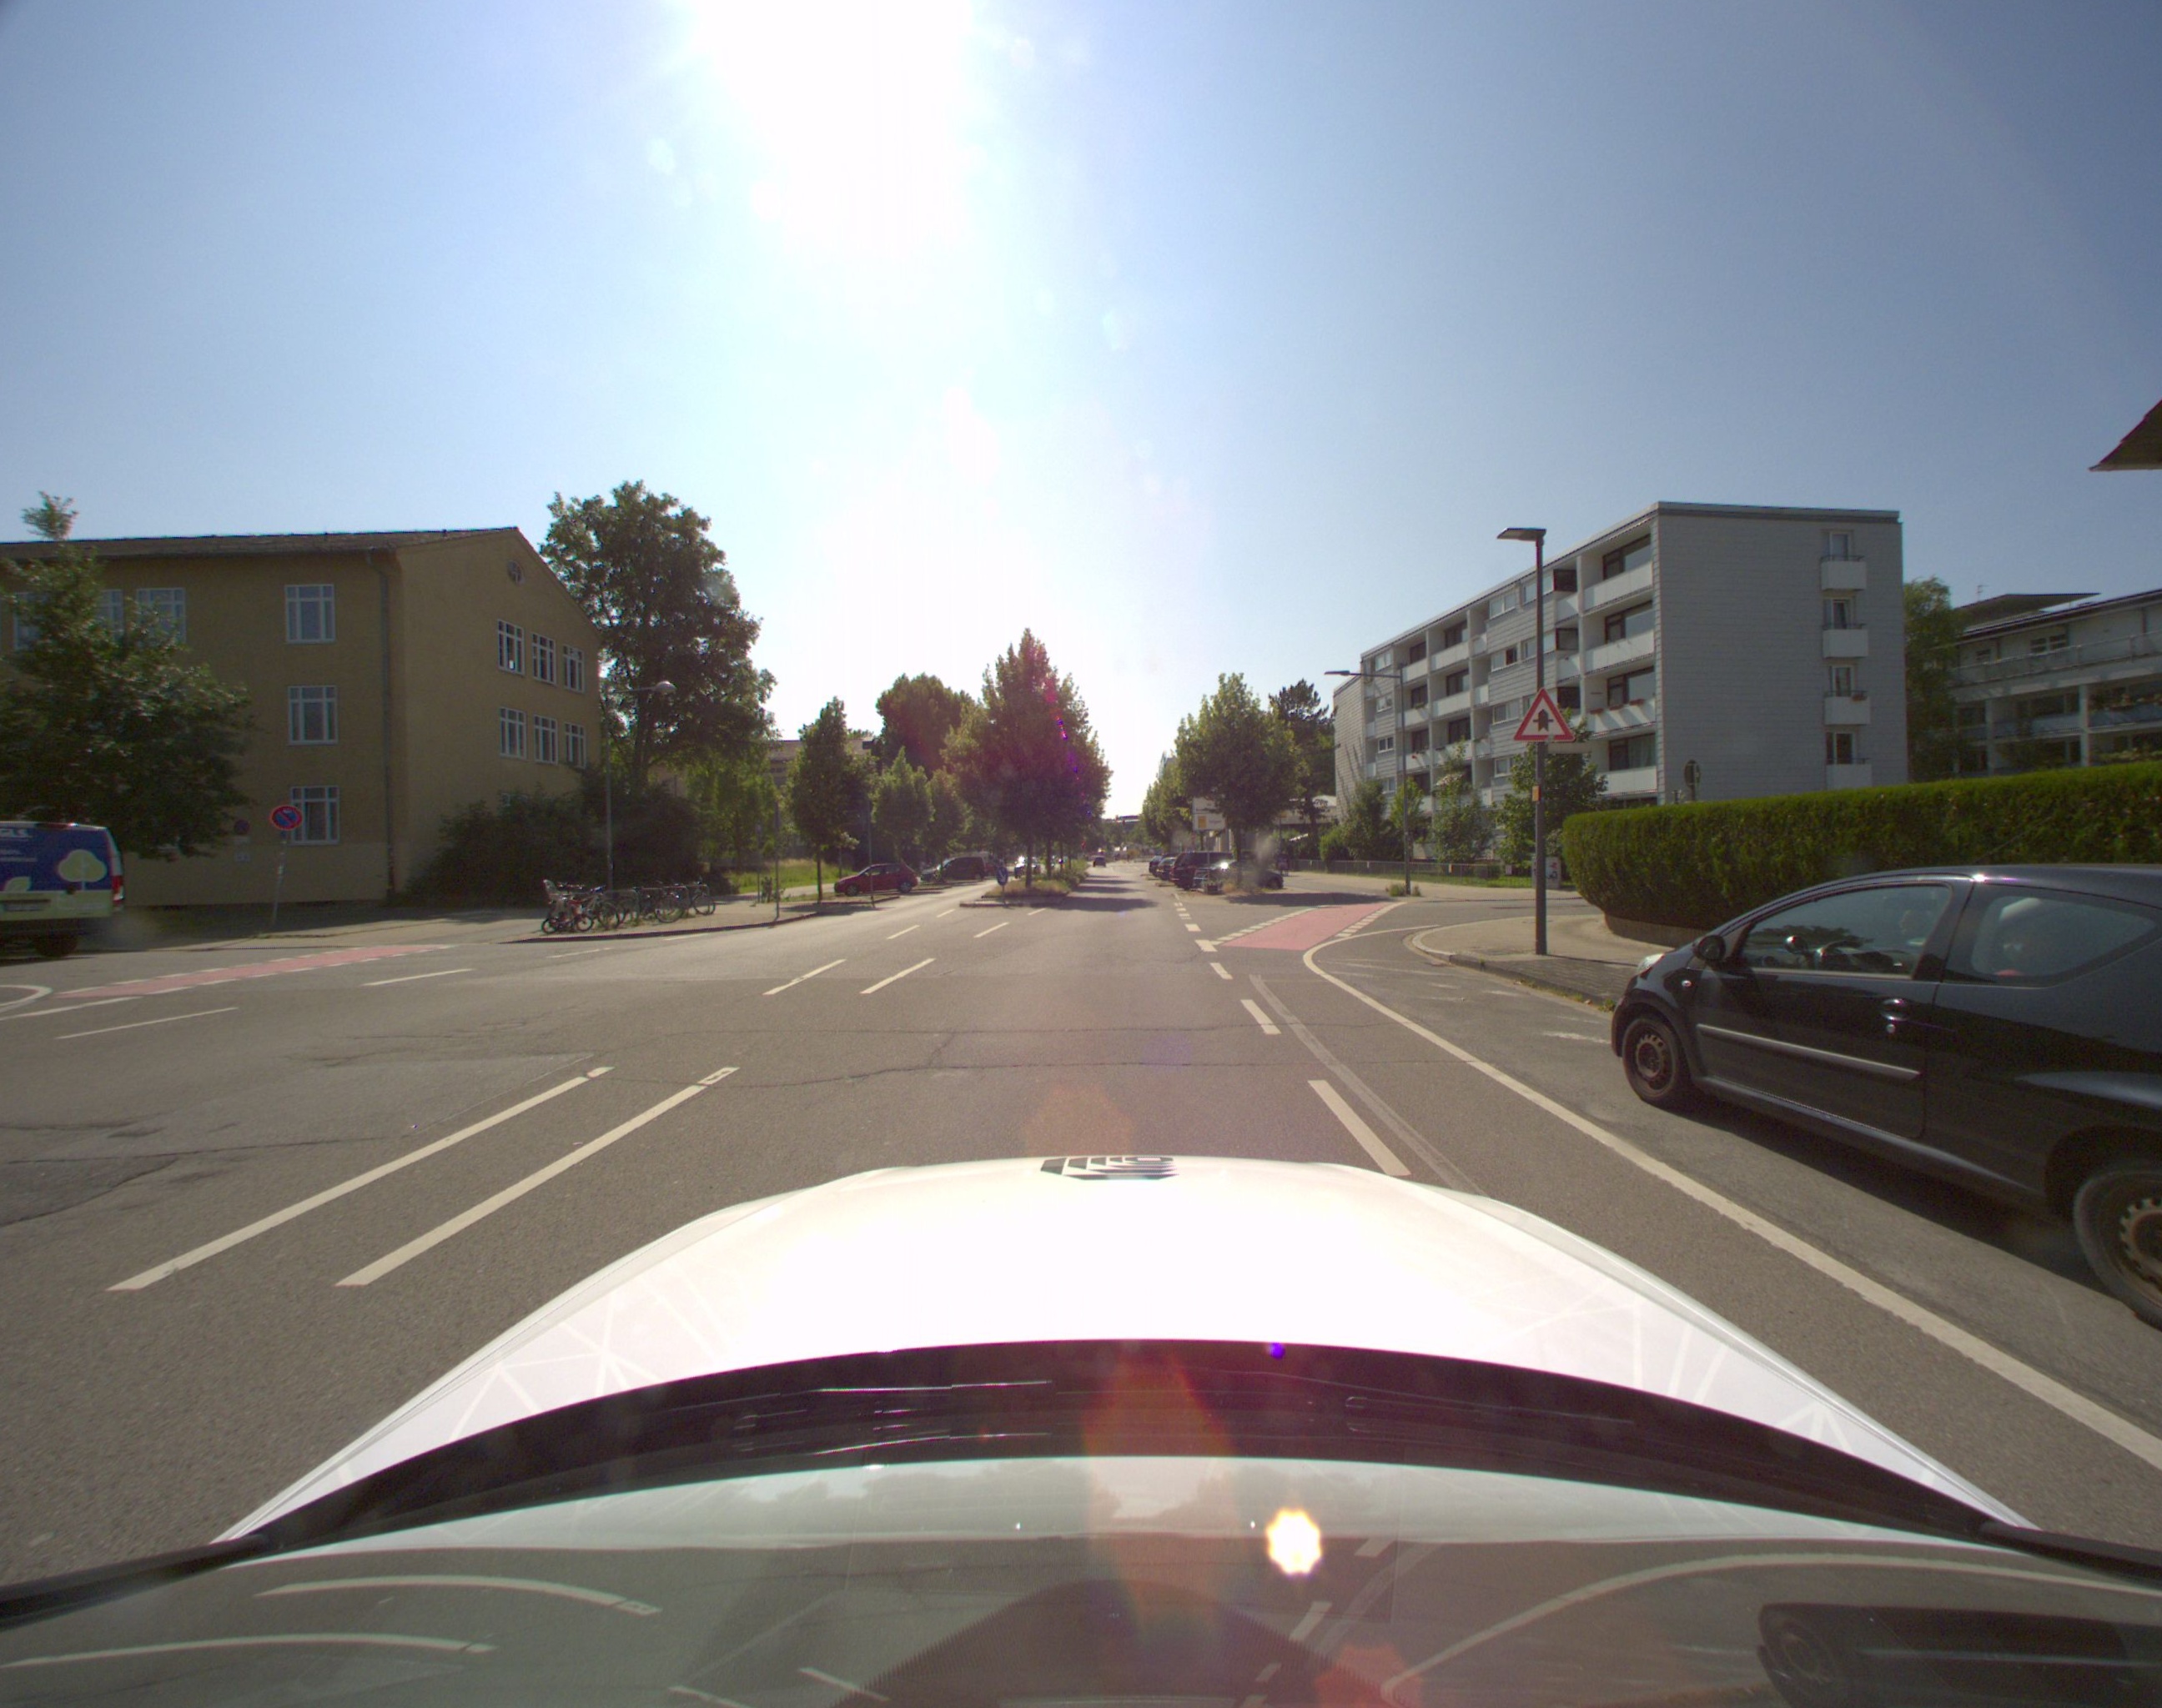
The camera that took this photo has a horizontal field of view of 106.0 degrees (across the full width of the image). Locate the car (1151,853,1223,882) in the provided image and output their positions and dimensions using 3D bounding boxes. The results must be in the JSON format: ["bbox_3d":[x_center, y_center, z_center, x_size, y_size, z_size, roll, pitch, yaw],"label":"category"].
[{"bbox_3d":[6.413,0.785,49.430,3.988,1.640,1.747,-1,0,-11],"label":"car"}]

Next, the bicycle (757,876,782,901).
[{"bbox_3d":[-12.026,1.338,31.474,0.519,0.903,1.269,-2,-1,-3],"label":"bicycle"}]

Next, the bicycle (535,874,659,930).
[{"bbox_3d":[-11.910,1.167,20.087,2.537,1.239,0.739,-2,0,-1],"label":"bicycle"}]

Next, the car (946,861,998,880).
[{"bbox_3d":[-8.865,1.305,66.515,3.858,1.423,1.697,-1,-1,-34],"label":"car"}]

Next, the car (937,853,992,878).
[{"bbox_3d":[-8.835,0.855,61.704,3.780,1.772,1.805,-1,-1,-24],"label":"car"}]

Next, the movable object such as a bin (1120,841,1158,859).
[{"bbox_3d":[15.094,-1.014,210.342,9.634,4.550,3.167,-1,0,3],"label":"movable object such as a bin"}]

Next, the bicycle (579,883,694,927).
[{"bbox_3d":[-11.604,1.317,21.296,2.537,0.987,0.739,-2,0,-1],"label":"bicycle"}]

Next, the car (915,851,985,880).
[{"bbox_3d":[-8.922,0.761,55.631,4.207,1.816,1.982,-2,1,-36],"label":"car"}]

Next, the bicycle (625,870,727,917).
[{"bbox_3d":[-11.732,1.133,23.623,2.537,1.256,0.739,-1,0,-1],"label":"bicycle"}]

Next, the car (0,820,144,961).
[{"bbox_3d":[-22.344,0.778,15.645,6.091,2.524,2.285,-3,0,2],"label":"car"}]

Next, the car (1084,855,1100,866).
[{"bbox_3d":[1.442,0.826,107.524,1.988,1.398,3.998,-1,0,-1],"label":"car"}]

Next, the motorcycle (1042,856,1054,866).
[{"bbox_3d":[-3.363,0.659,82.647,0.919,0.992,2.237,-1,0,3],"label":"motorcycle"}]

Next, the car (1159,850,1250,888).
[{"bbox_3d":[5.949,0.713,39.056,4.014,1.640,1.861,-1,-3,-32],"label":"car"}]

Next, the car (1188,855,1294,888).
[{"bbox_3d":[6.559,0.696,33.443,4.005,1.236,1.739,-1,0,-24],"label":"car"}]

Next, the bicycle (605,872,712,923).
[{"bbox_3d":[-11.624,1.176,22.460,2.507,1.256,0.739,-2,0,-1],"label":"bicycle"}]

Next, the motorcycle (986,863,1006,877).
[{"bbox_3d":[-8.091,1.534,77.565,1.842,1.284,0.692,-1,0,-5],"label":"motorcycle"}]

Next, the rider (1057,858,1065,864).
[{"bbox_3d":[-4.026,1.430,162.957,1.387,1.196,2.697,-1,0,0],"label":"rider"}]

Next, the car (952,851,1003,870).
[{"bbox_3d":[-15.721,0.910,124.565,7.408,2.674,2.901,-1,0,-2],"label":"car"}]

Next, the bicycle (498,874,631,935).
[{"bbox_3d":[-12.021,1.171,19.002,2.537,1.256,0.739,-2,0,-1],"label":"bicycle"}]

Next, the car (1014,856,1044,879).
[{"bbox_3d":[-3.903,0.995,61.652,1.734,1.547,4.076,-3,-1,3],"label":"car"}]

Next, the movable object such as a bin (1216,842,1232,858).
[{"bbox_3d":[15.389,-0.425,87.747,1.303,1.592,1.395,-4,0,-1],"label":"movable object such as a bin"}]

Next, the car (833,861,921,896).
[{"bbox_3d":[-9.964,1.153,39.707,4.000,1.466,1.987,-3,0,-19],"label":"car"}]

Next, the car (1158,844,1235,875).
[{"bbox_3d":[6.613,0.290,46.592,4.001,1.640,1.741,-1,1,-20],"label":"car"}]

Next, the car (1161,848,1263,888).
[{"bbox_3d":[5.818,0.601,36.015,4.134,1.640,2.024,-1,0,-32],"label":"car"}]

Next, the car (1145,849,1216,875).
[{"bbox_3d":[6.819,0.559,55.772,4.763,1.660,1.735,-1,0,-32],"label":"car"}]

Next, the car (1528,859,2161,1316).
[{"bbox_3d":[4.136,0.722,4.136,1.611,1.390,4.001,0,0,1],"label":"car"}]
